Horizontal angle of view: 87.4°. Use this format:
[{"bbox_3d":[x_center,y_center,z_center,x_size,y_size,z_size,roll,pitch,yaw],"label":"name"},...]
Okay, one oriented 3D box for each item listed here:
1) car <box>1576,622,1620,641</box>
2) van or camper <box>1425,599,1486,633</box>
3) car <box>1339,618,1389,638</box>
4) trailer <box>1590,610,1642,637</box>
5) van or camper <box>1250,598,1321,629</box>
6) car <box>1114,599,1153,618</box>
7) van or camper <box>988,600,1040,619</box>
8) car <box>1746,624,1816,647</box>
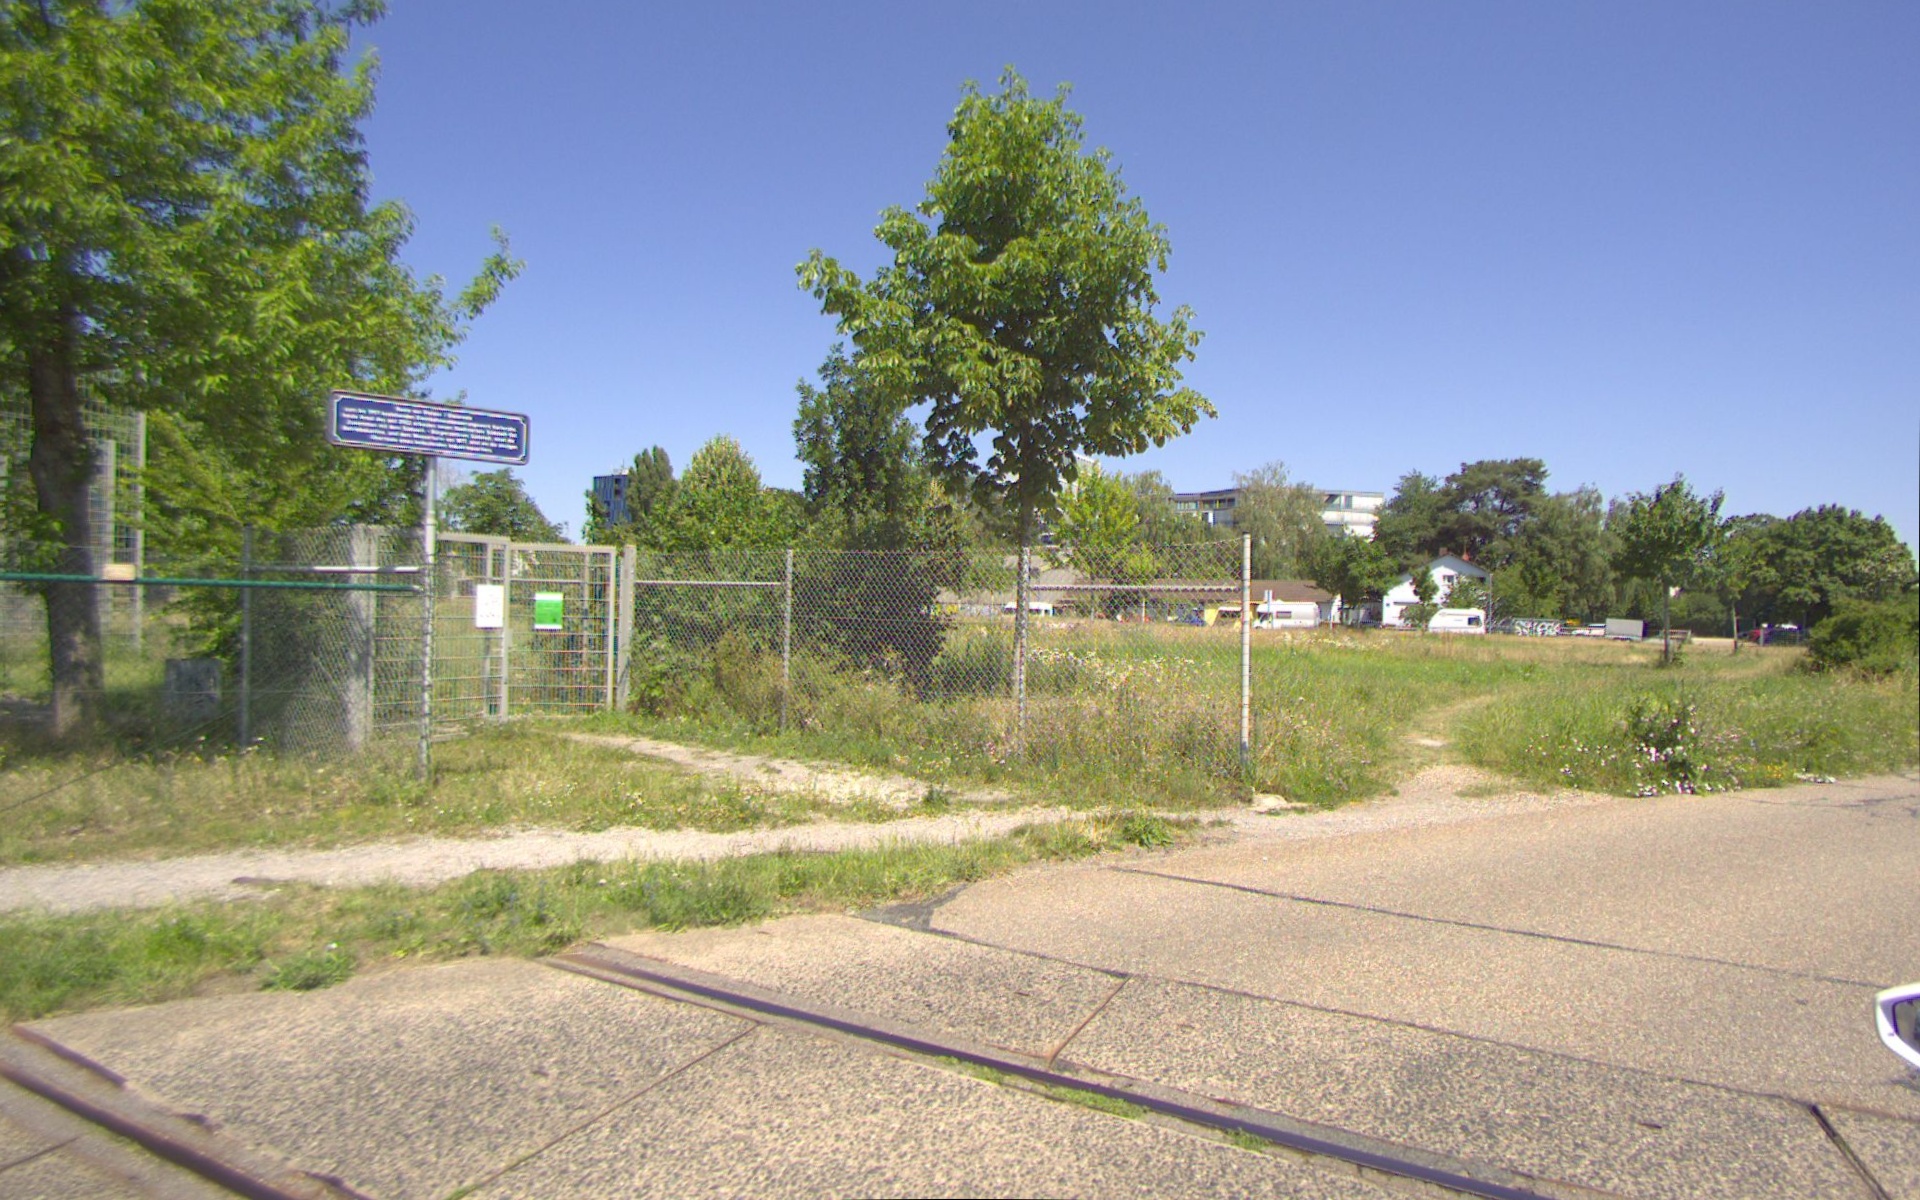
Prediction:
[{"bbox_3d":[57.153,2.773,89.987,3.287,1.598,1.768,1,0,32],"label":"car"},{"bbox_3d":[42.668,1.398,86.501,4.387,2.625,2.487,3,1,30],"label":"van or camper"},{"bbox_3d":[36.313,2.503,90.328,3.931,1.572,1.910,1,0,33],"label":"car"},{"bbox_3d":[52.856,1.871,81.006,3.364,2.072,1.757,1,-1,31],"label":"trailer"},{"bbox_3d":[30.346,1.252,93.587,5.861,2.628,2.468,1,0,29],"label":"van or camper"},{"bbox_3d":[17.373,0.841,100.528,3.514,1.795,1.755,1,0,27],"label":"car"},{"bbox_3d":[5.767,0.972,106.685,4.965,1.905,2.355,1,0,27],"label":"van or camper"},{"bbox_3d":[73.068,3.156,89.494,4.762,1.865,1.992,1,-1,38],"label":"car"}]
